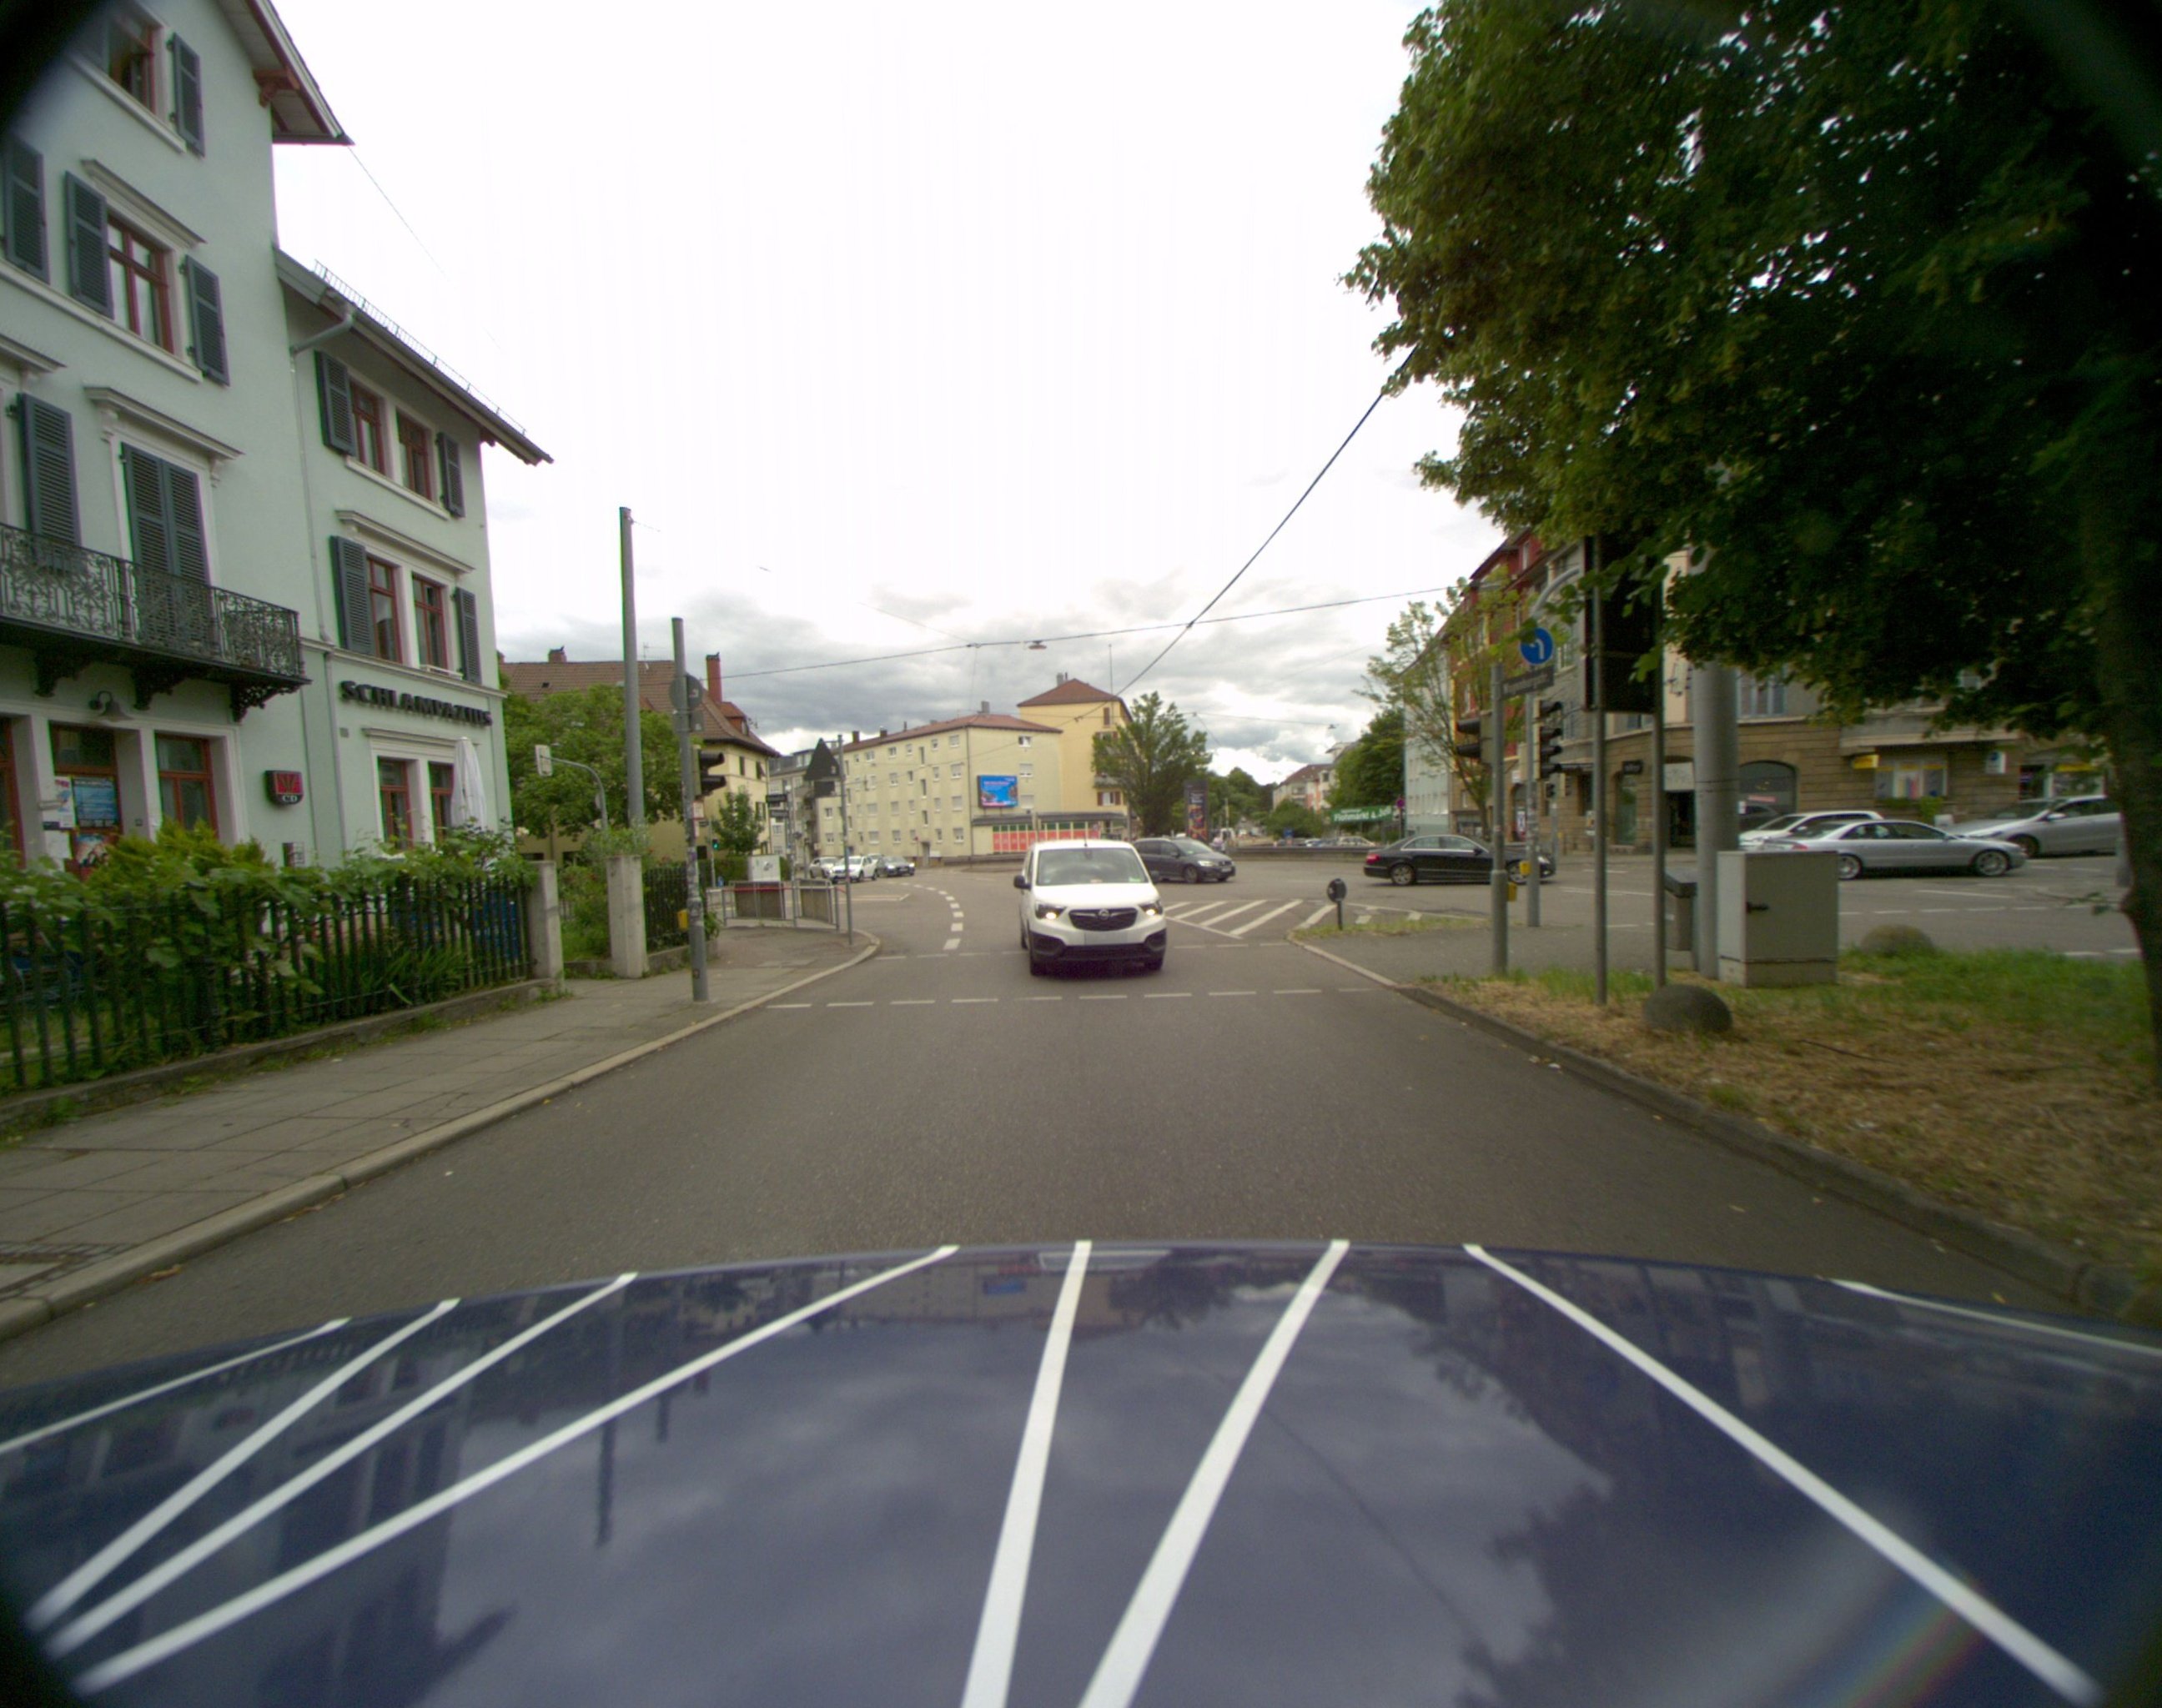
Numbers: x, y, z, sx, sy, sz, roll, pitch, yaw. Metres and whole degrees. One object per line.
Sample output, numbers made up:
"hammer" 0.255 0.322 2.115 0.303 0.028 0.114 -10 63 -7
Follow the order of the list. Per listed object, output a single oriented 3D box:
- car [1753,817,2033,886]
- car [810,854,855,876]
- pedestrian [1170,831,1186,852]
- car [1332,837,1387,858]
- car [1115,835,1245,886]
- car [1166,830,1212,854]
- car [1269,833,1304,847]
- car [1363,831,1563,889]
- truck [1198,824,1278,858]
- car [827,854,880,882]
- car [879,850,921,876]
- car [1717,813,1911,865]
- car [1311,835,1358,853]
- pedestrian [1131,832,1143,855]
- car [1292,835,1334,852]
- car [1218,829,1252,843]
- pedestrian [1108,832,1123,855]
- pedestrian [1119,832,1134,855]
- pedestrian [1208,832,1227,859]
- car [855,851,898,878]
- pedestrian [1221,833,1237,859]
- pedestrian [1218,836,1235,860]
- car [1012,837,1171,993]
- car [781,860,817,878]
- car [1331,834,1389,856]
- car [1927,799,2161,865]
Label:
"car" 18.901 -0.067 17.924 4.259 1.335 1.708 -3 3 15
"car" -18.743 0.851 57.263 1.957 1.541 4.025 -3 0 -37
"pedestrian" 9.064 -1.186 70.848 0.930 1.948 1.265 -4 3 -22
"car" 23.693 -0.548 64.652 1.896 1.590 3.922 -5 3 -43
"car" 3.538 0.195 27.979 1.861 1.606 4.715 -6 4 -38
"car" 8.128 -0.911 56.648 2.207 1.563 4.482 -2 3 24
"car" 26.449 -1.780 97.737 3.922 1.590 1.896 -1 3 39
"car" 10.590 0.174 21.208 4.725 1.412 1.845 -1 3 35
"truck" 13.156 -1.103 63.496 6.466 2.707 2.766 -1 0 -32
"car" -12.997 0.786 43.713 1.908 1.470 3.886 -3 0 -1
"car" -12.026 0.583 50.261 2.042 1.541 4.028 -3 0 -22
"car" 22.578 -0.469 23.601 3.953 1.422 1.798 -2 3 20
"car" 24.618 -0.967 73.814 3.922 1.590 1.896 -1 3 39
"pedestrian" 3.911 -0.742 53.059 0.607 1.610 0.553 -5 3 -34
"car" 25.243 -1.130 82.811 3.922 1.590 1.896 -1 3 39
"car" 20.270 -2.358 99.984 3.936 1.695 1.889 -4 3 -22
"pedestrian" 2.470 -0.722 54.339 0.773 1.610 0.648 -5 4 -41
"pedestrian" 3.245 -0.737 53.749 0.770 1.610 0.651 -1 3 33
"pedestrian" 8.033 -0.497 44.689 0.707 1.574 0.801 -5 3 -33
"car" -16.693 0.825 61.820 2.003 2.003 4.258 -5 3 -33
"pedestrian" 8.457 -0.447 43.357 0.606 1.424 0.600 -5 3 -32
"pedestrian" 8.438 -0.369 44.010 0.665 1.334 0.627 -5 3 -32
"car" -0.016 0.726 11.627 1.858 1.798 4.727 -3 1 -4
"car" -25.656 1.364 69.043 1.957 1.541 4.025 -3 0 -37
"car" 22.611 -0.721 61.616 1.896 1.590 3.922 -5 3 -43
"car" 25.099 -0.573 19.685 4.047 1.465 1.652 -2 3 12
